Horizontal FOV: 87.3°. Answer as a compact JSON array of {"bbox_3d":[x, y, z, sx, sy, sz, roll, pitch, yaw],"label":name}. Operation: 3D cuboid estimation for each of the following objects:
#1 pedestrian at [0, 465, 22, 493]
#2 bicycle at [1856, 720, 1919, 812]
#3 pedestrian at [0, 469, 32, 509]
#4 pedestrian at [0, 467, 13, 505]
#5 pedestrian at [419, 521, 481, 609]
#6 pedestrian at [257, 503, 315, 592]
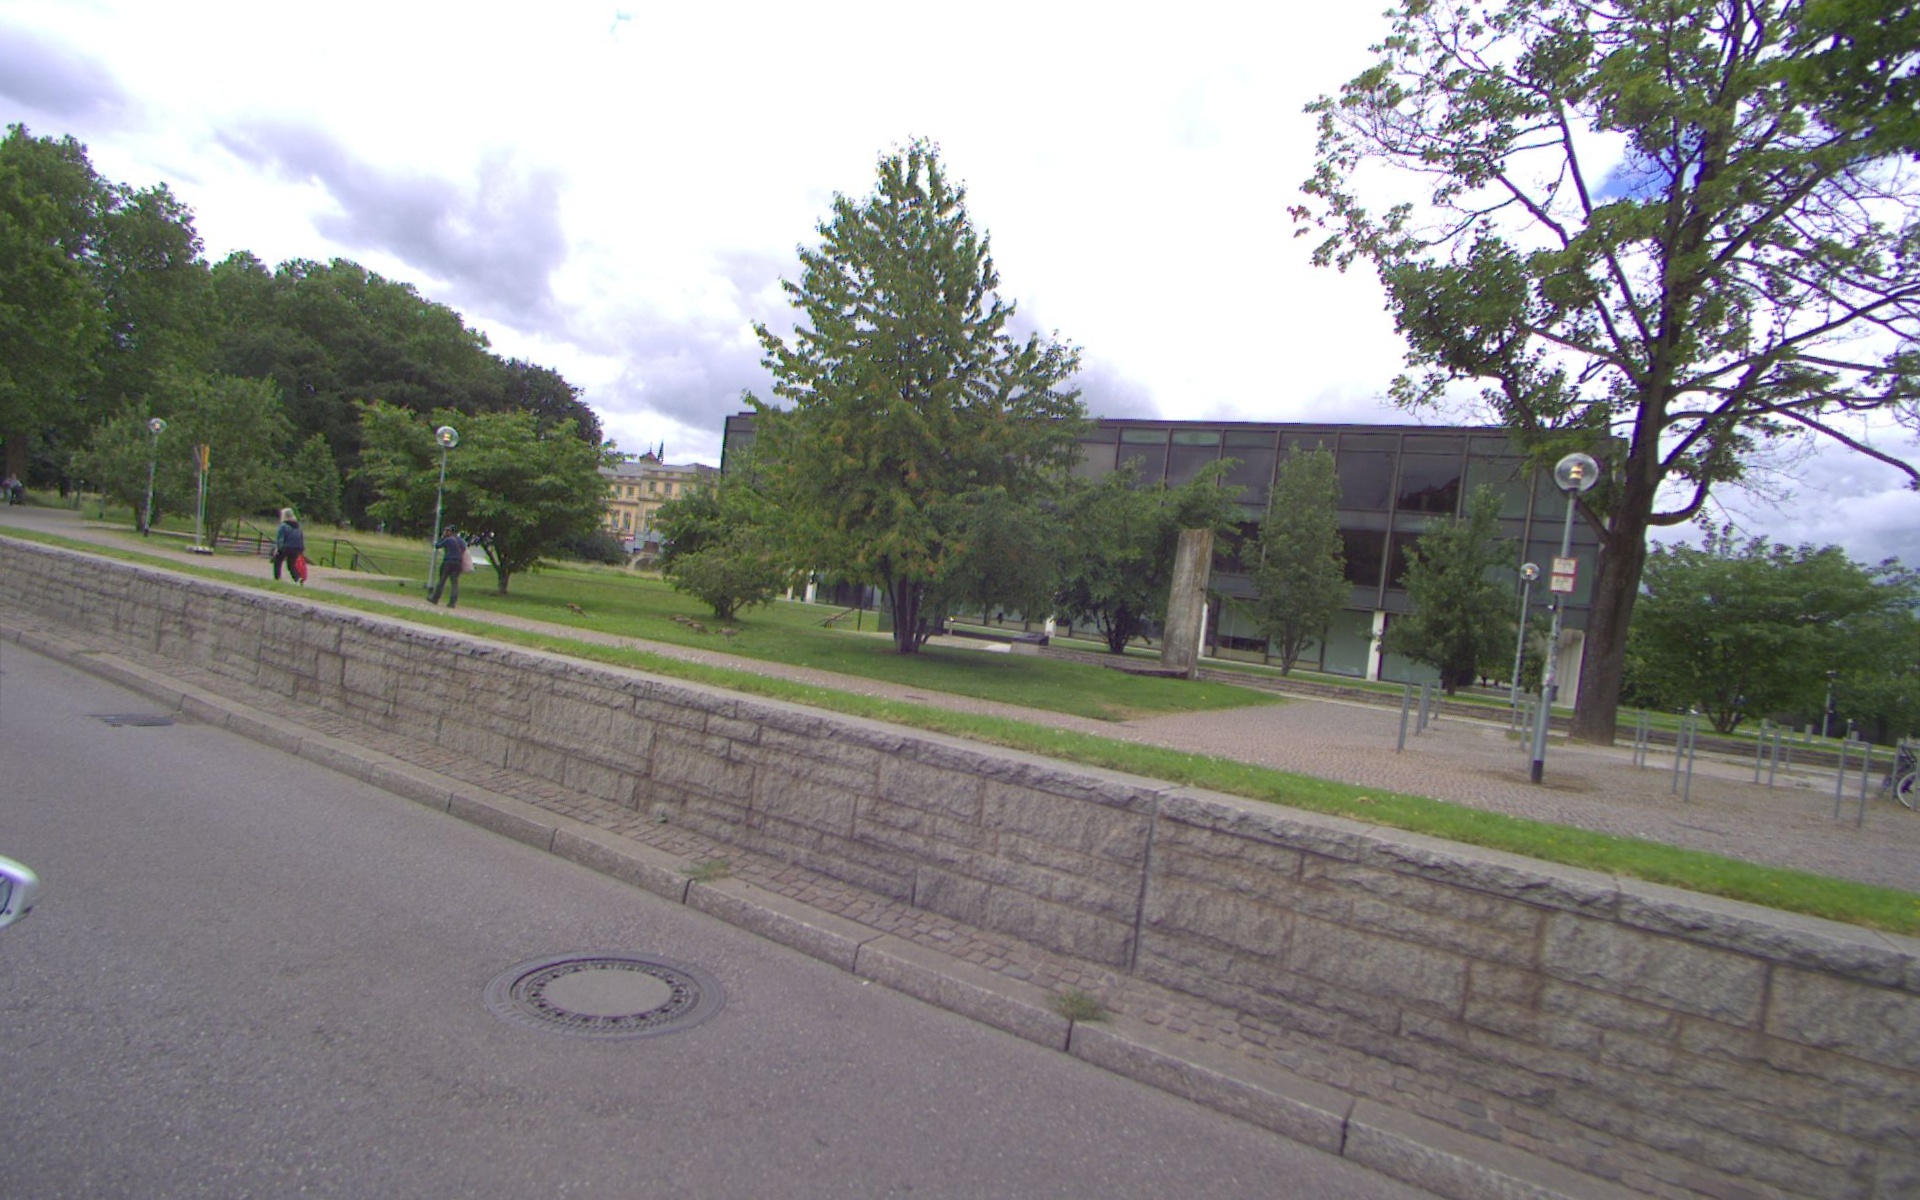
[{"bbox_3d":[-49.855,-6.340,52.864,0.533,1.339,0.583,6,-3,31],"label":"pedestrian"},{"bbox_3d":[13.781,2.399,14.549,0.674,1.155,2.195,7,0,30],"label":"bicycle"},{"bbox_3d":[-49.656,-5.824,52.816,1.013,1.857,0.998,6,-3,33],"label":"pedestrian"},{"bbox_3d":[-46.719,-5.582,48.694,0.952,1.752,0.898,7,-2,31],"label":"pedestrian"},{"bbox_3d":[-10.315,-0.707,20.353,0.617,1.646,0.801,8,1,38],"label":"pedestrian"},{"bbox_3d":[-12.957,-1.012,19.332,0.680,1.581,0.897,6,1,-42],"label":"pedestrian"}]
